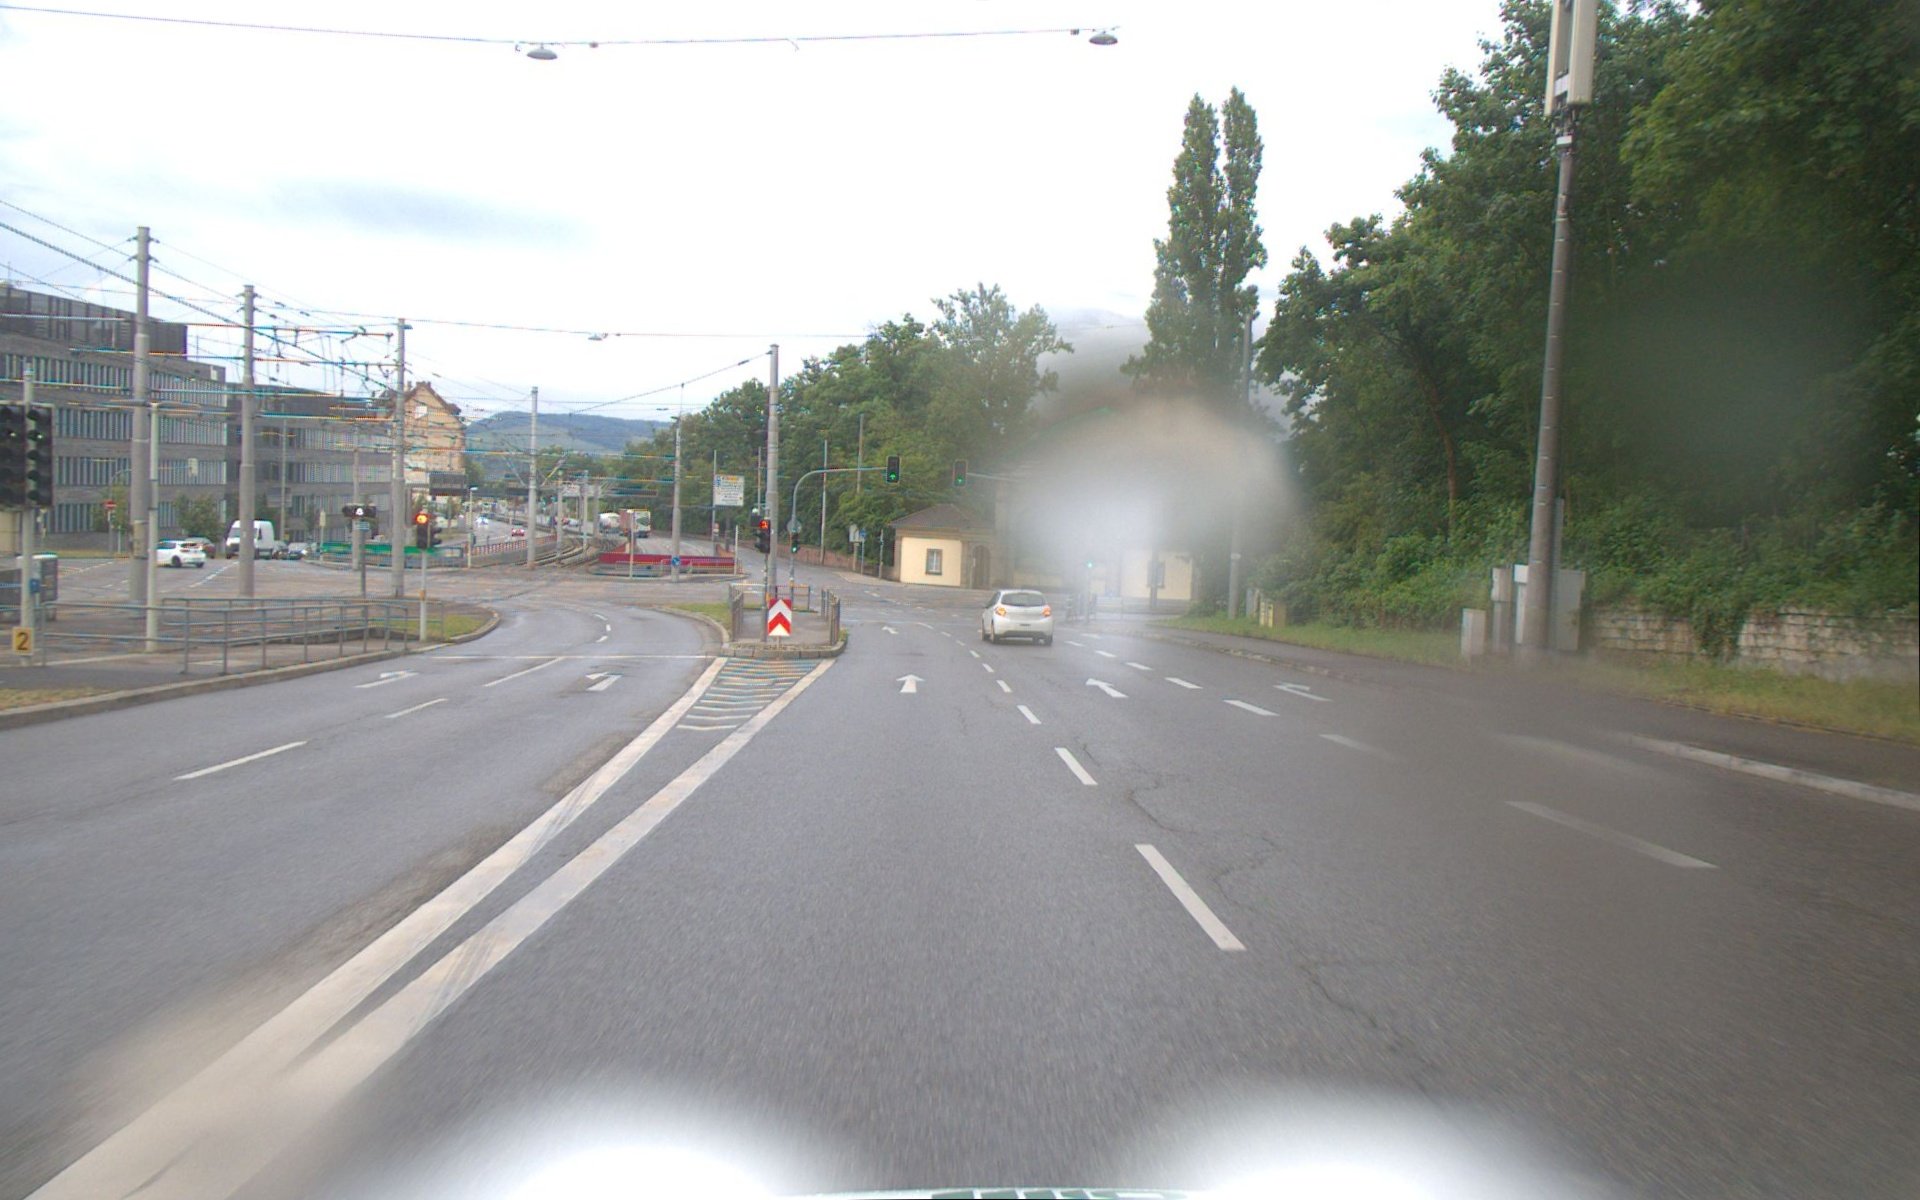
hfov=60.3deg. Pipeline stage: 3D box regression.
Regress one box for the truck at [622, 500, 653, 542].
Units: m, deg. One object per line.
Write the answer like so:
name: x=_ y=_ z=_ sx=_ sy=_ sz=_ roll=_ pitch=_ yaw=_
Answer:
truck: x=-47.929 y=-11.639 z=245.548 sx=3.409 sy=5.495 sz=11.995 roll=1 pitch=0 yaw=-17

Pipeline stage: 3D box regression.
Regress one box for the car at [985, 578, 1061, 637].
car: x=1.707 y=0.208 z=46.096 sx=1.915 sy=1.514 sz=3.999 roll=1 pitch=0 yaw=-1

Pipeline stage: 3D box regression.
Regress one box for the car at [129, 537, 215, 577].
car: x=-43.778 y=-2.381 z=91.931 sx=3.902 sy=2.049 sz=2.001 roll=1 pitch=-1 yaw=14

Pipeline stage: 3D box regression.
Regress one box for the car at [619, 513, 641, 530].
car: x=-35.910 y=-8.539 z=179.994 sx=1.963 sy=1.905 sz=3.980 roll=0 pitch=2 yaw=-18

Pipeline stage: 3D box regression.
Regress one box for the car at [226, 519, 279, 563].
car: x=-47.896 y=-4.024 z=112.033 sx=1.957 sy=2.880 sz=5.706 roll=0 pitch=2 yaw=-9
